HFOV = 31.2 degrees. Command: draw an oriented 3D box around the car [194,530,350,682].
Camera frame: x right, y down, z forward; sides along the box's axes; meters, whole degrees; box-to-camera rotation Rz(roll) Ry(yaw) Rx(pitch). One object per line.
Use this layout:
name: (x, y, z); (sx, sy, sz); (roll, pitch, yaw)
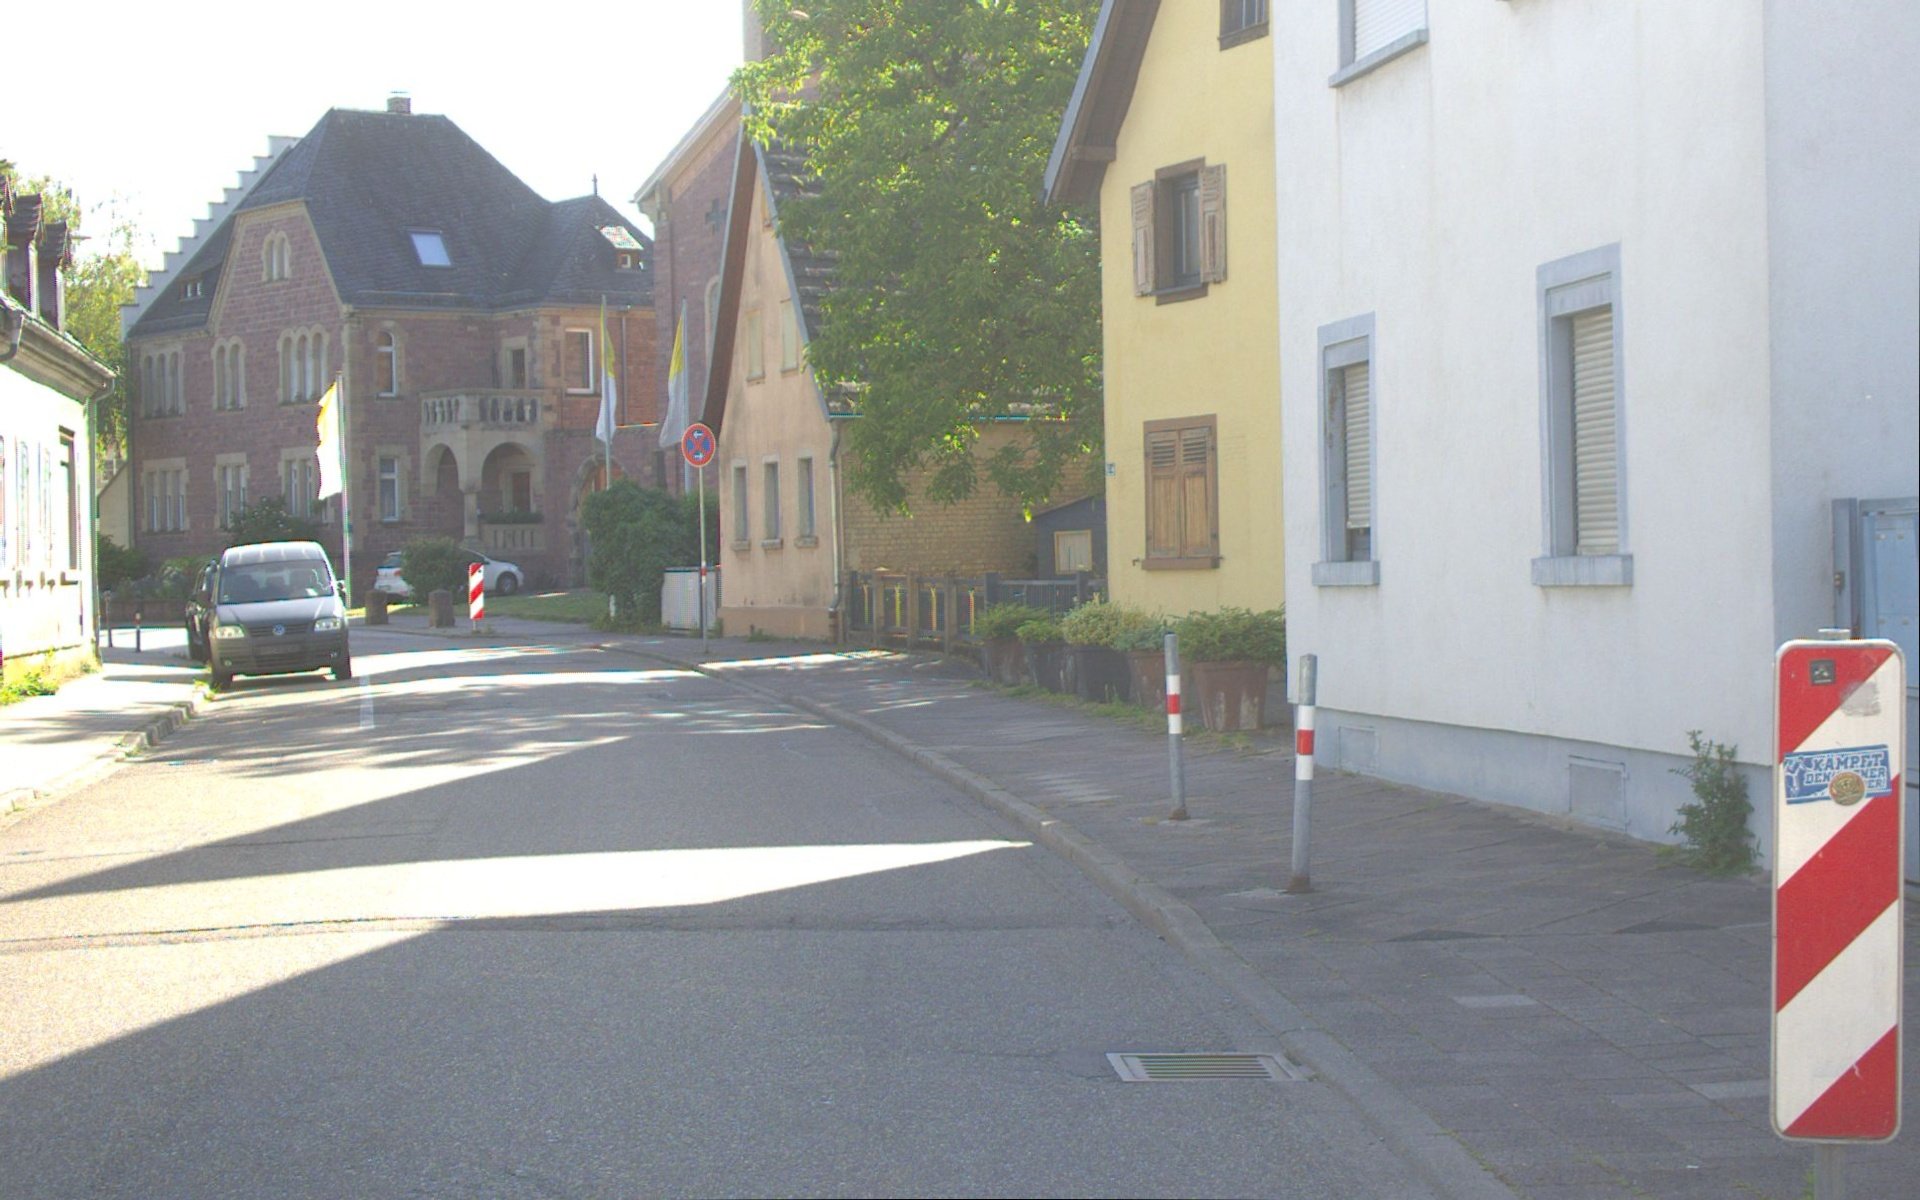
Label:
car: (-9.059, 0.049, 45.252); (1.825, 1.808, 4.203); (-3, 1, -11)

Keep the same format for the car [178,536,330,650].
car: (-11.660, -0.126, 56.593); (1.825, 1.727, 4.203); (-3, 1, -19)

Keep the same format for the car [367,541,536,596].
car: (-13.679, -0.853, 92.591); (4.235, 1.396, 1.717); (-2, 1, -41)
